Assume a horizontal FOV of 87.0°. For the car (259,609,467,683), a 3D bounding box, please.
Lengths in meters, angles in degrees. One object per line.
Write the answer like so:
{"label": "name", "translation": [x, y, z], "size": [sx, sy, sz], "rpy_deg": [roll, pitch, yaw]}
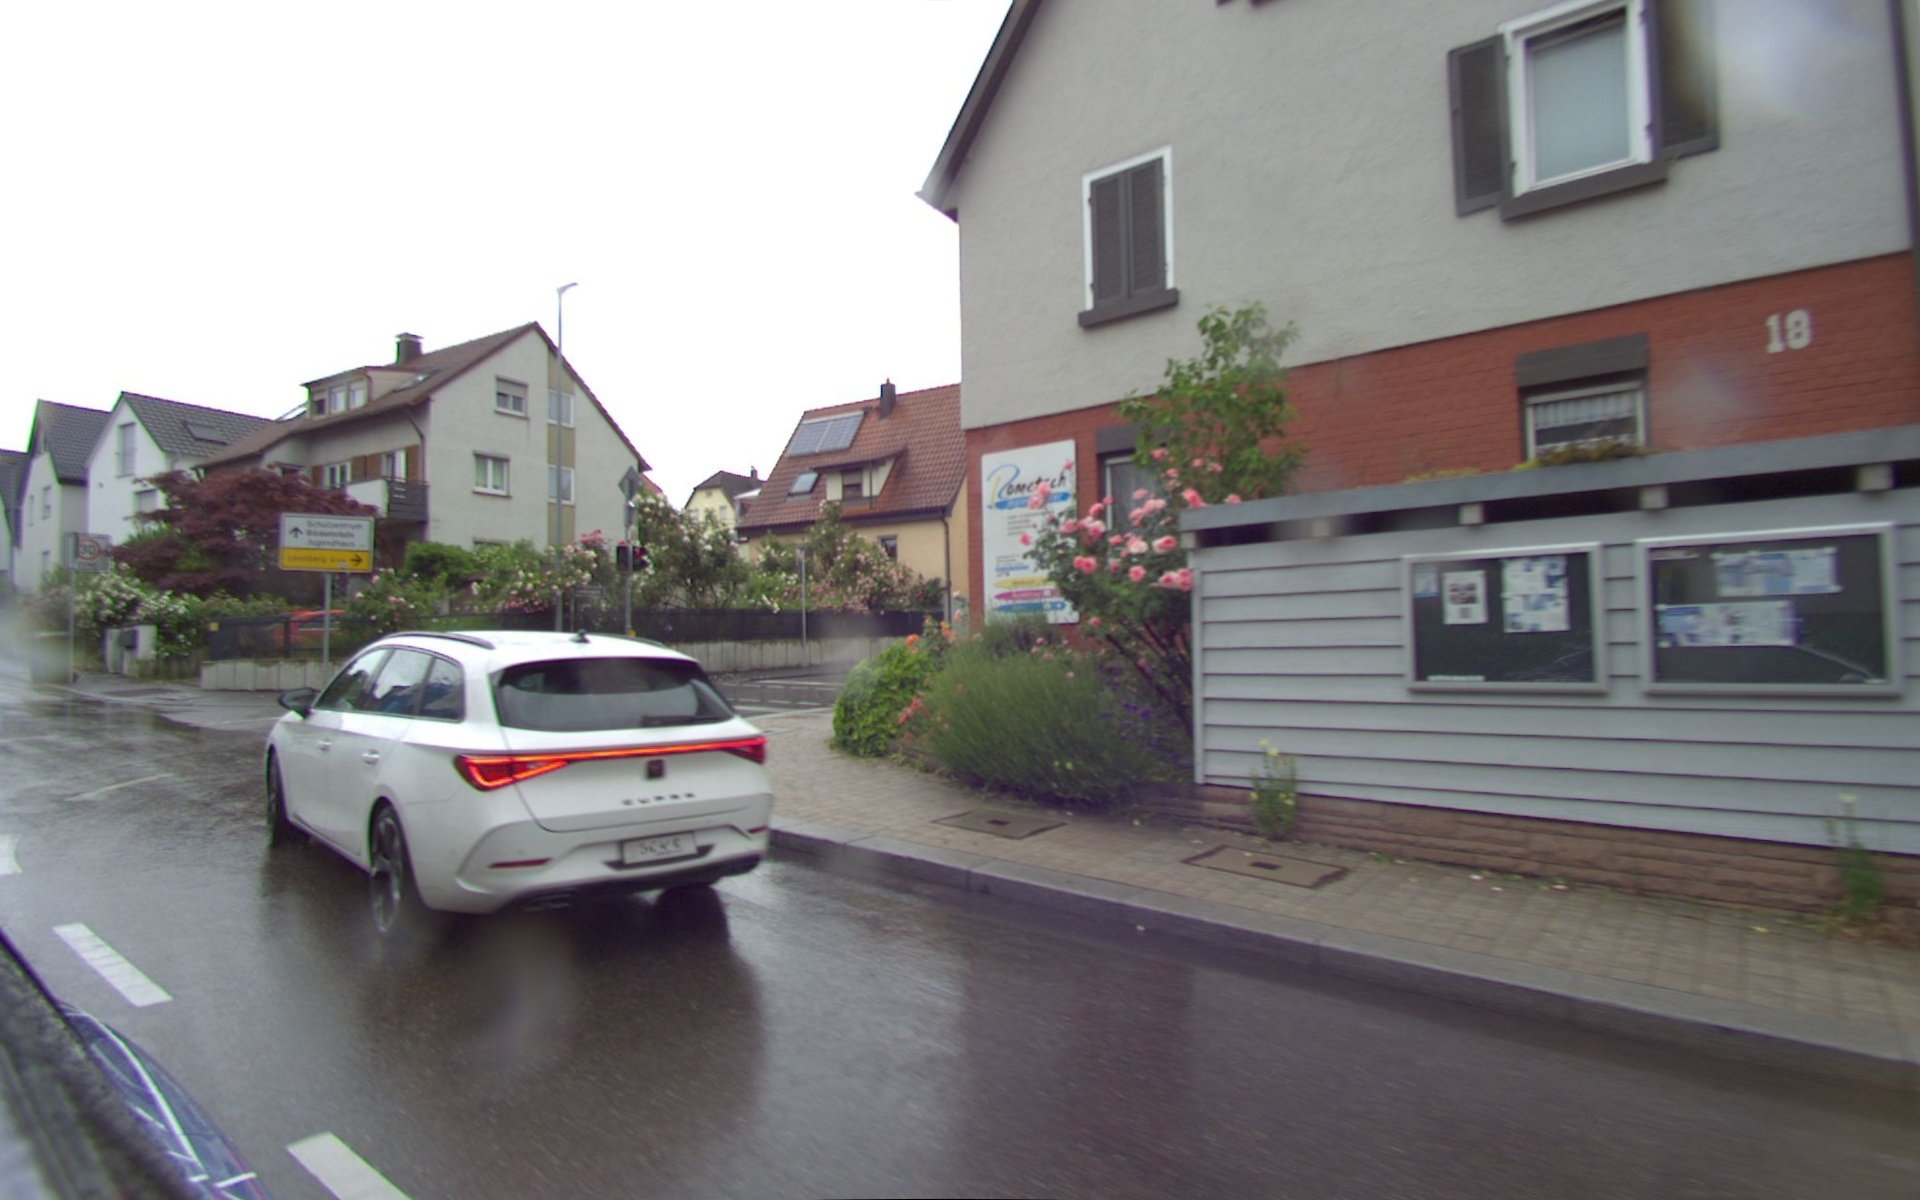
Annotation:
{"label": "car", "translation": [-14.244, 1.091, 24.371], "size": [1.715, 1.611, 3.957], "rpy_deg": [0, -3, 31]}

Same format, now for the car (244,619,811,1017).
{"label": "car", "translation": [-2.778, 0.880, 5.895], "size": [1.568, 1.419, 4.212], "rpy_deg": [3, -2, -45]}

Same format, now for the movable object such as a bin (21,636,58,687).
{"label": "movable object such as a bin", "translation": [-20.096, 1.329, 22.099], "size": [0.414, 1.057, 0.515], "rpy_deg": [-1, 1, 40]}

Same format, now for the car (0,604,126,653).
{"label": "car", "translation": [-33.554, 1.053, 37.315], "size": [1.773, 1.719, 3.962], "rpy_deg": [-1, -2, 27]}

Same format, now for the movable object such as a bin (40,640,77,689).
{"label": "movable object such as a bin", "translation": [-19.538, 1.385, 21.932], "size": [0.414, 1.034, 0.515], "rpy_deg": [-1, -3, 40]}
